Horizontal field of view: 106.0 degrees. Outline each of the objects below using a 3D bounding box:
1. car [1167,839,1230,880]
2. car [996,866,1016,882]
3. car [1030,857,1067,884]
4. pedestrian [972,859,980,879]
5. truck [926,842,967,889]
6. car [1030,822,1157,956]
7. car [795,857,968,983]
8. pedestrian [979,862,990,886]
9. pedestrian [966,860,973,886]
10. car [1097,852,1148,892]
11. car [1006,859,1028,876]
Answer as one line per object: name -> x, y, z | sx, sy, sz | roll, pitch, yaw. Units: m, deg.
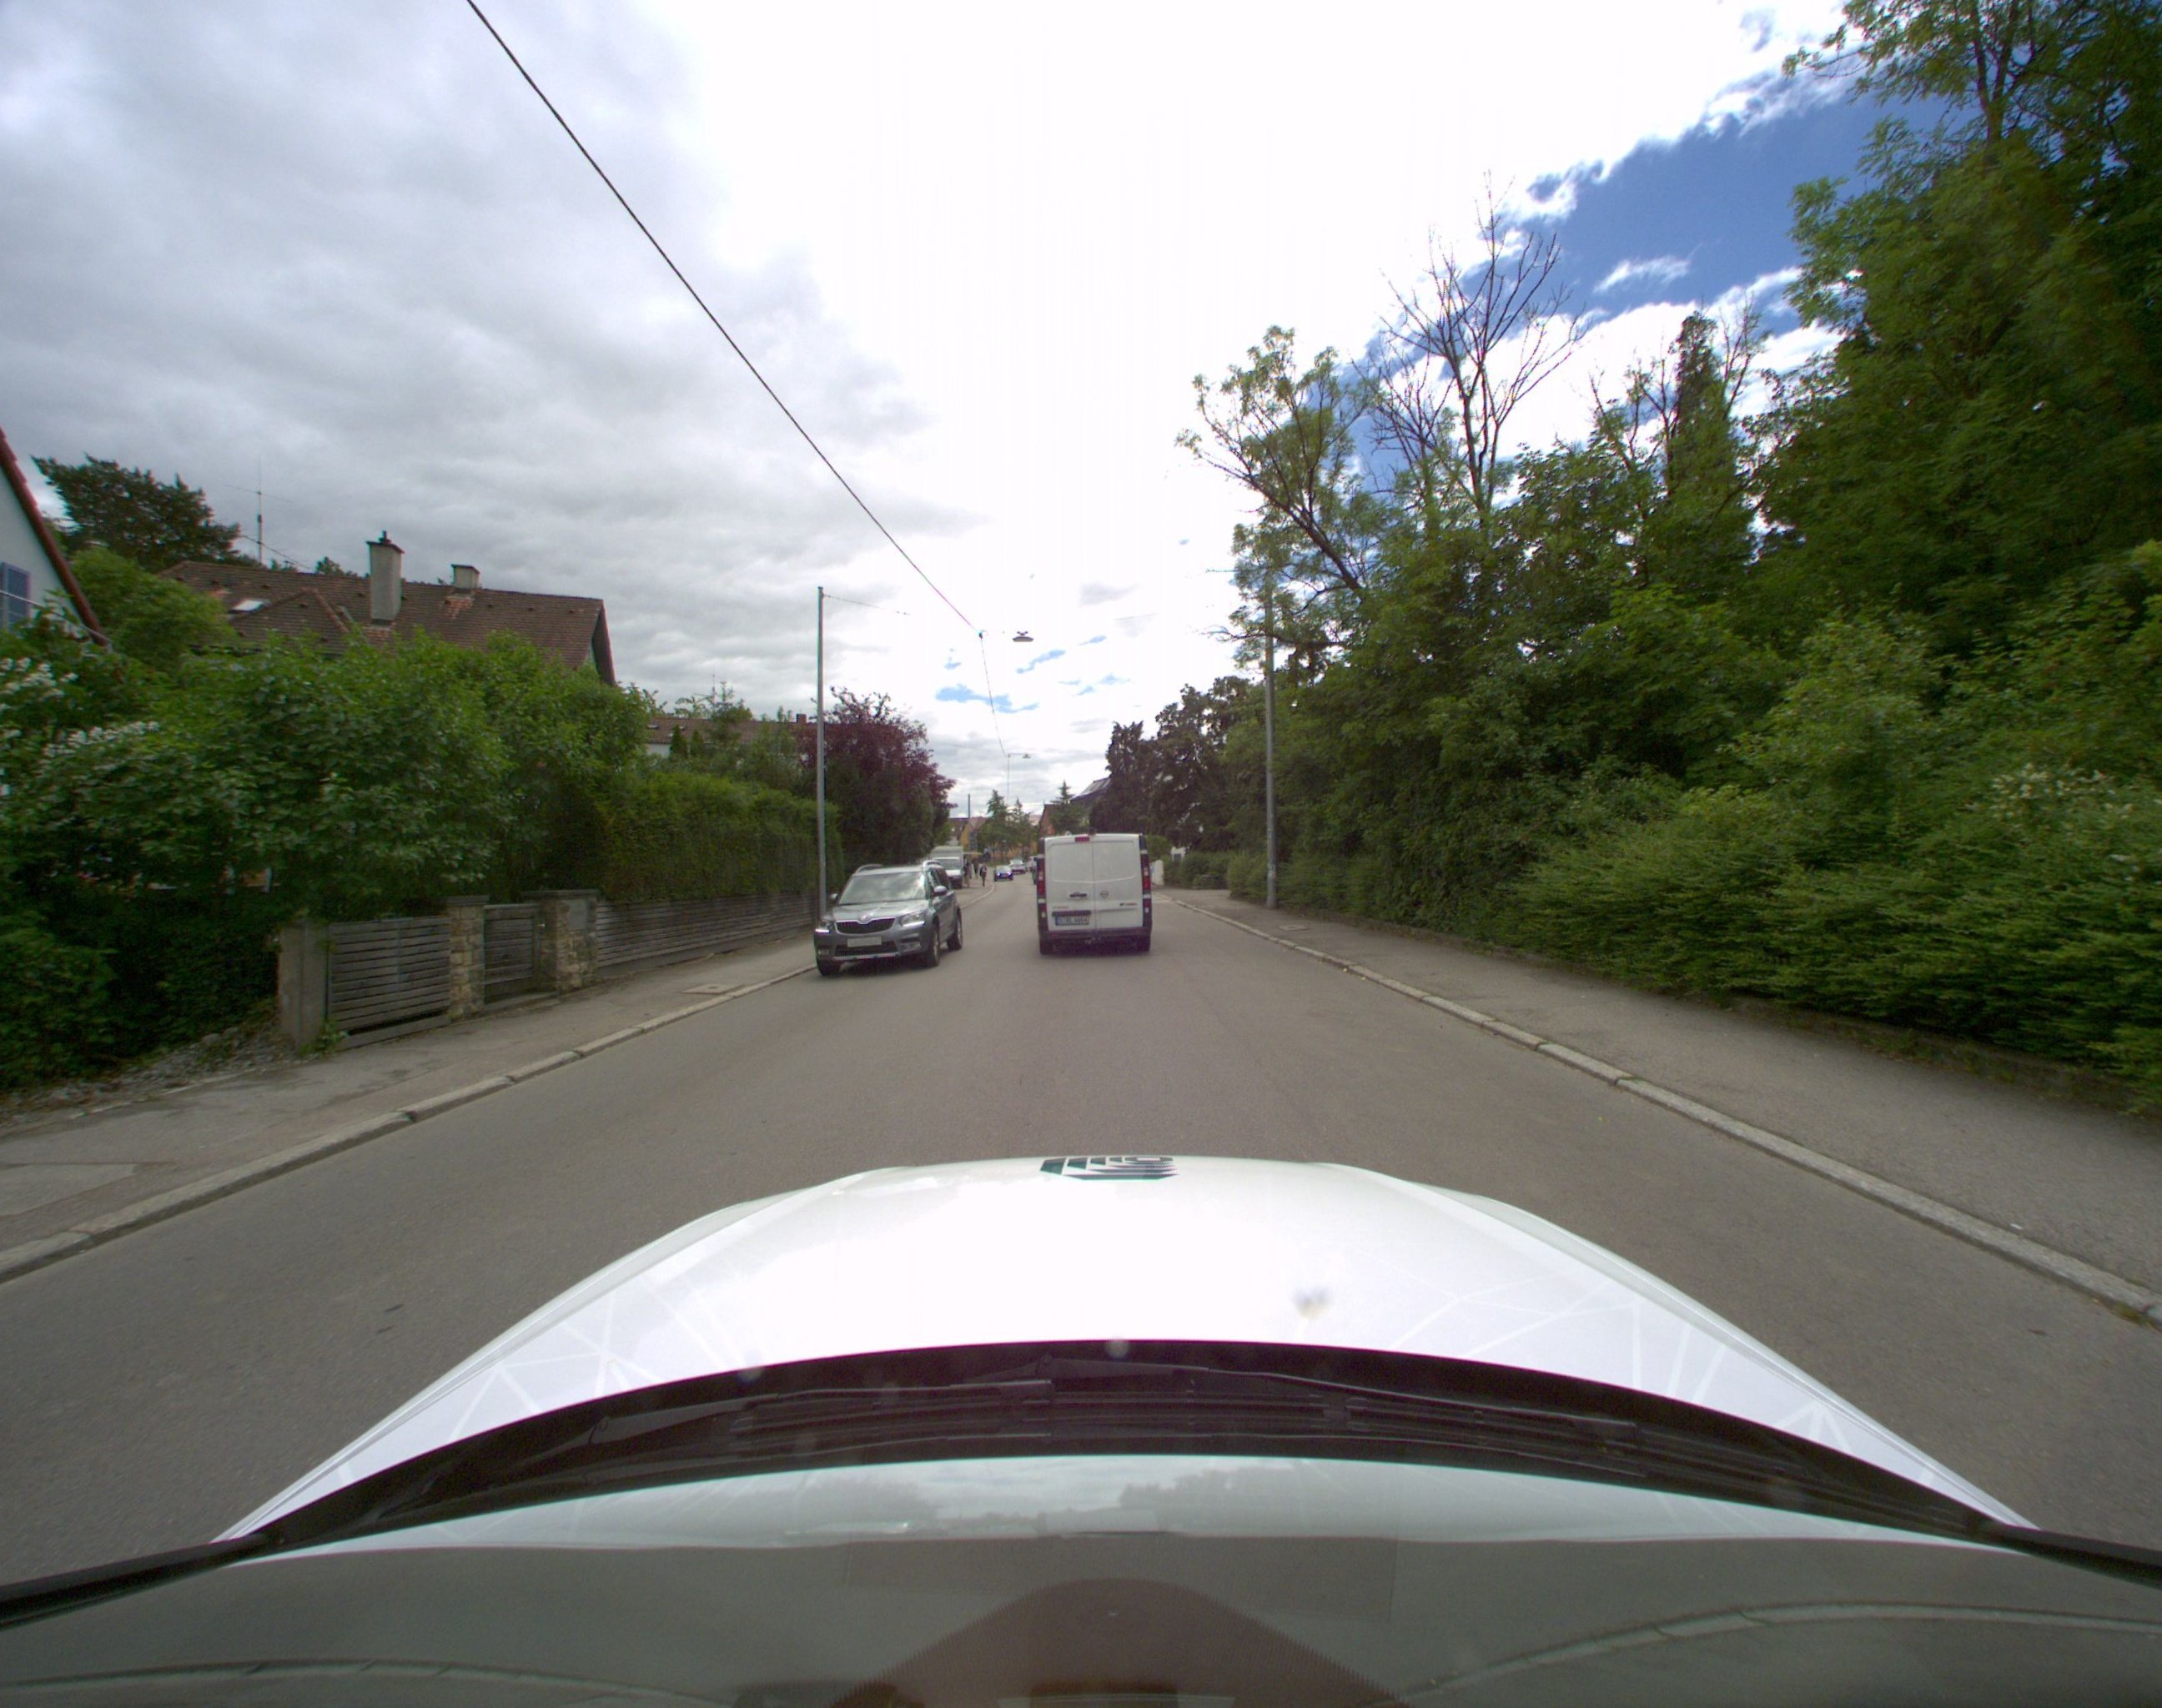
car -> 8.079, 0.400, 56.619 | 2.502, 2.682, 5.158 | 1, -1, -16
car -> -7.137, 1.871, 77.801 | 1.690, 1.432, 3.922 | 1, -1, -3
car -> -2.450, 1.167, 59.761 | 1.995, 1.848, 3.983 | -2, 0, -12
pedestrian -> -10.571, 1.531, 82.055 | 0.731, 1.946, 1.216 | 1, -1, -4
truck -> -8.934, 0.766, 54.250 | 2.472, 2.840, 6.686 | -1, -1, -9
car -> 0.106, 0.573, 14.816 | 1.911, 2.003, 4.433 | -2, -1, -2
car -> -3.118, 0.968, 13.609 | 1.835, 1.655, 4.136 | -4, -1, -1
pedestrian -> -7.092, 1.460, 59.851 | 0.721, 1.687, 1.107 | 1, -1, -4
pedestrian -> -7.512, 1.289, 54.797 | 0.401, 1.695, 0.595 | 1, -1, -9
car -> 2.015, 0.874, 41.002 | 1.905, 1.848, 5.150 | -1, -1, -4
car -> -7.439, 1.547, 94.730 | 1.995, 1.782, 3.983 | -2, 0, -12
